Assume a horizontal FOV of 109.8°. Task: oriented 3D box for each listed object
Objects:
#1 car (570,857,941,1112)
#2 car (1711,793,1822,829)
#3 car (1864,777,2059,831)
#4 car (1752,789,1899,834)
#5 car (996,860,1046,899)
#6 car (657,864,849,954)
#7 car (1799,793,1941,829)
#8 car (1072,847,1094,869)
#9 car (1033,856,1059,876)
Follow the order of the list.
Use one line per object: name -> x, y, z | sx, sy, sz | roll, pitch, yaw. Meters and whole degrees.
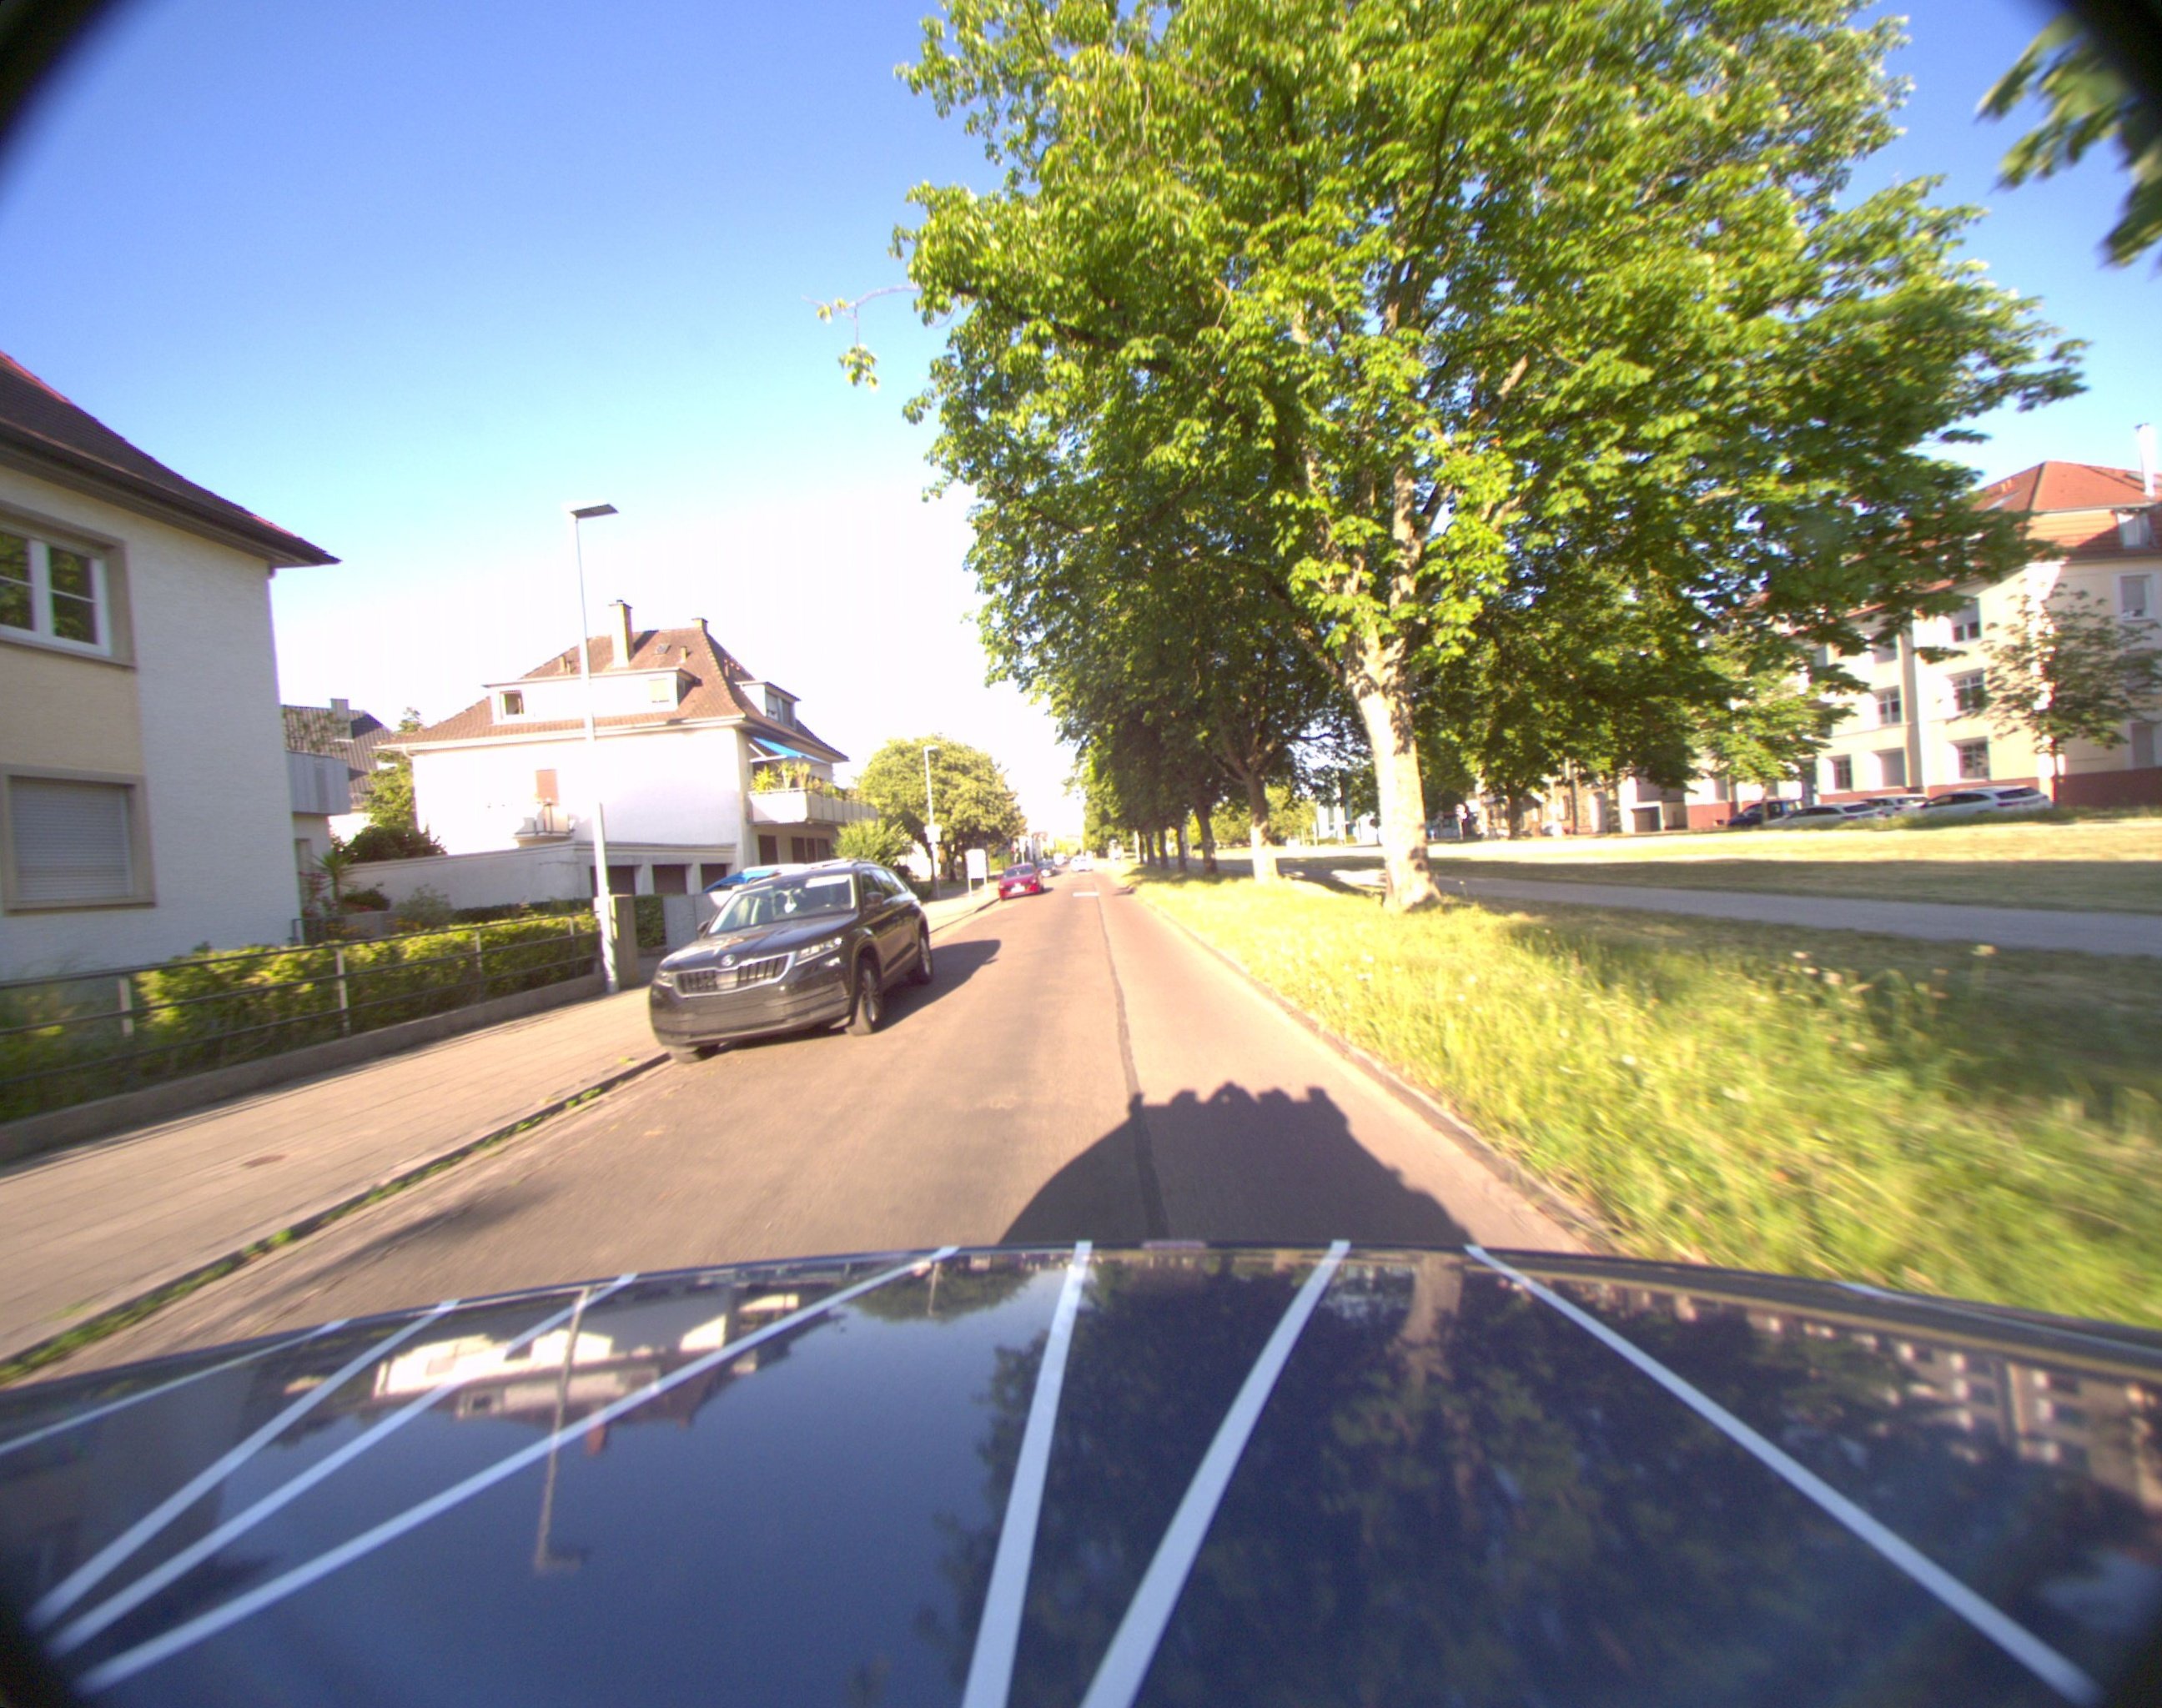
car -> -2.938, 1.020, 8.140 | 1.862, 1.710, 4.467 | -9, 0, -1
car -> 40.392, -2.493, 44.954 | 1.999, 1.680, 4.875 | -4, 0, -1
car -> 34.223, -1.882, 29.803 | 1.998, 1.680, 4.876 | -4, 0, 1
car -> 34.340, -1.917, 35.276 | 1.998, 1.680, 4.876 | -4, 0, 1
car -> -2.631, 1.101, 34.288 | 1.824, 1.486, 4.224 | -4, 0, 0
car -> -8.364, 1.363, 19.682 | 3.998, 1.917, 2.000 | -4, 0, -3
car -> 39.906, -2.127, 38.635 | 1.999, 1.445, 4.875 | -4, 0, -1
car -> 0.225, 0.414, 78.149 | 1.998, 2.002, 4.000 | -5, 0, 1
car -> -3.087, 1.048, 68.261 | 1.998, 1.575, 4.346 | -2, 0, 1
